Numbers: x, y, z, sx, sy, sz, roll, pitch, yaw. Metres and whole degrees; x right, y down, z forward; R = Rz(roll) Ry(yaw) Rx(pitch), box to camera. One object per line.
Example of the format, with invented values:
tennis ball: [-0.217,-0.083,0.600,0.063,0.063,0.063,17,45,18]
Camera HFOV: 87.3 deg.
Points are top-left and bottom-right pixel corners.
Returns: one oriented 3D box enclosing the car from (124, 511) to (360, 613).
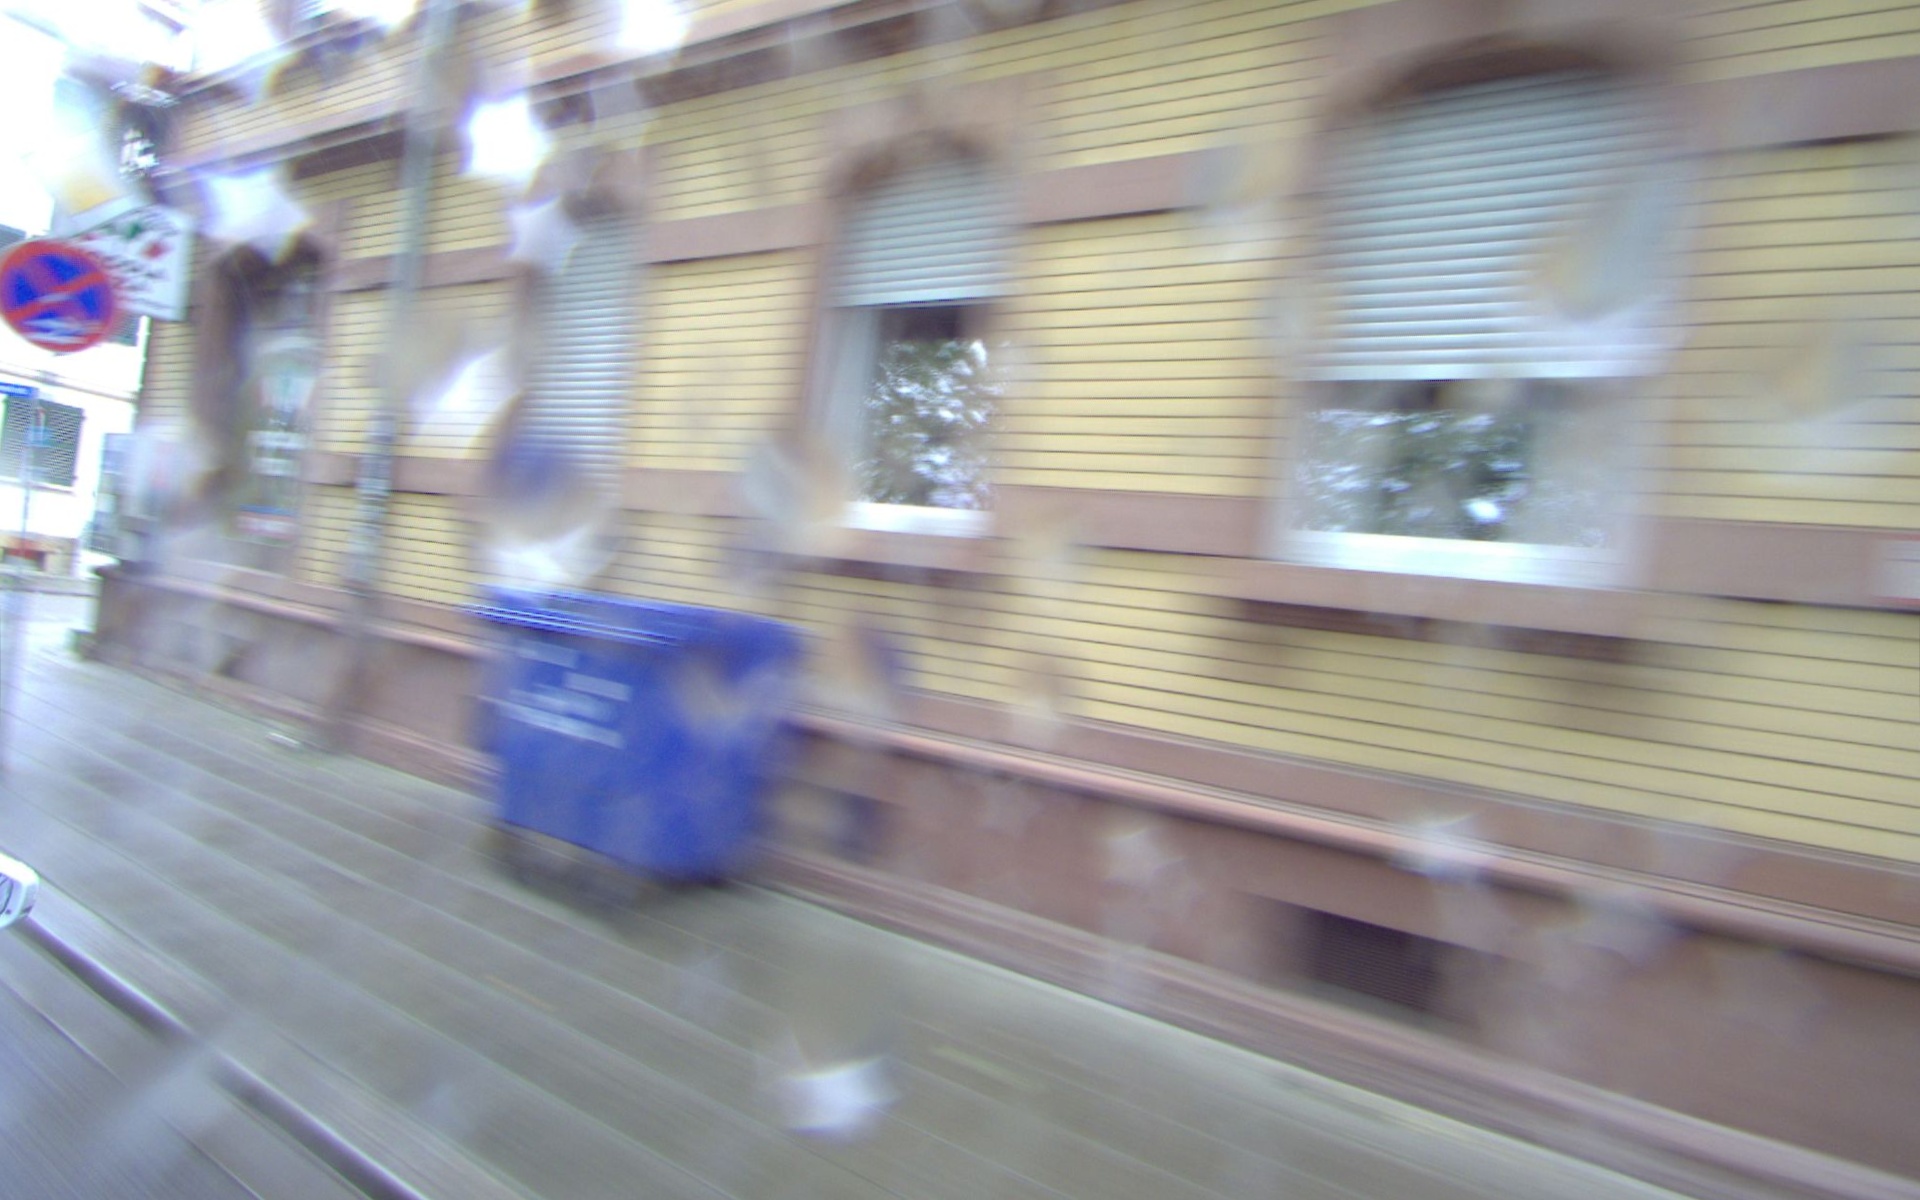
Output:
car: [-14.300,-0.705,20.241,1.686,1.503,3.368,6,-3,24]

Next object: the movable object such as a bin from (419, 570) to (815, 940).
movable object such as a bin: [-1.585,0.618,4.682,1.344,1.319,1.022,8,2,31]
